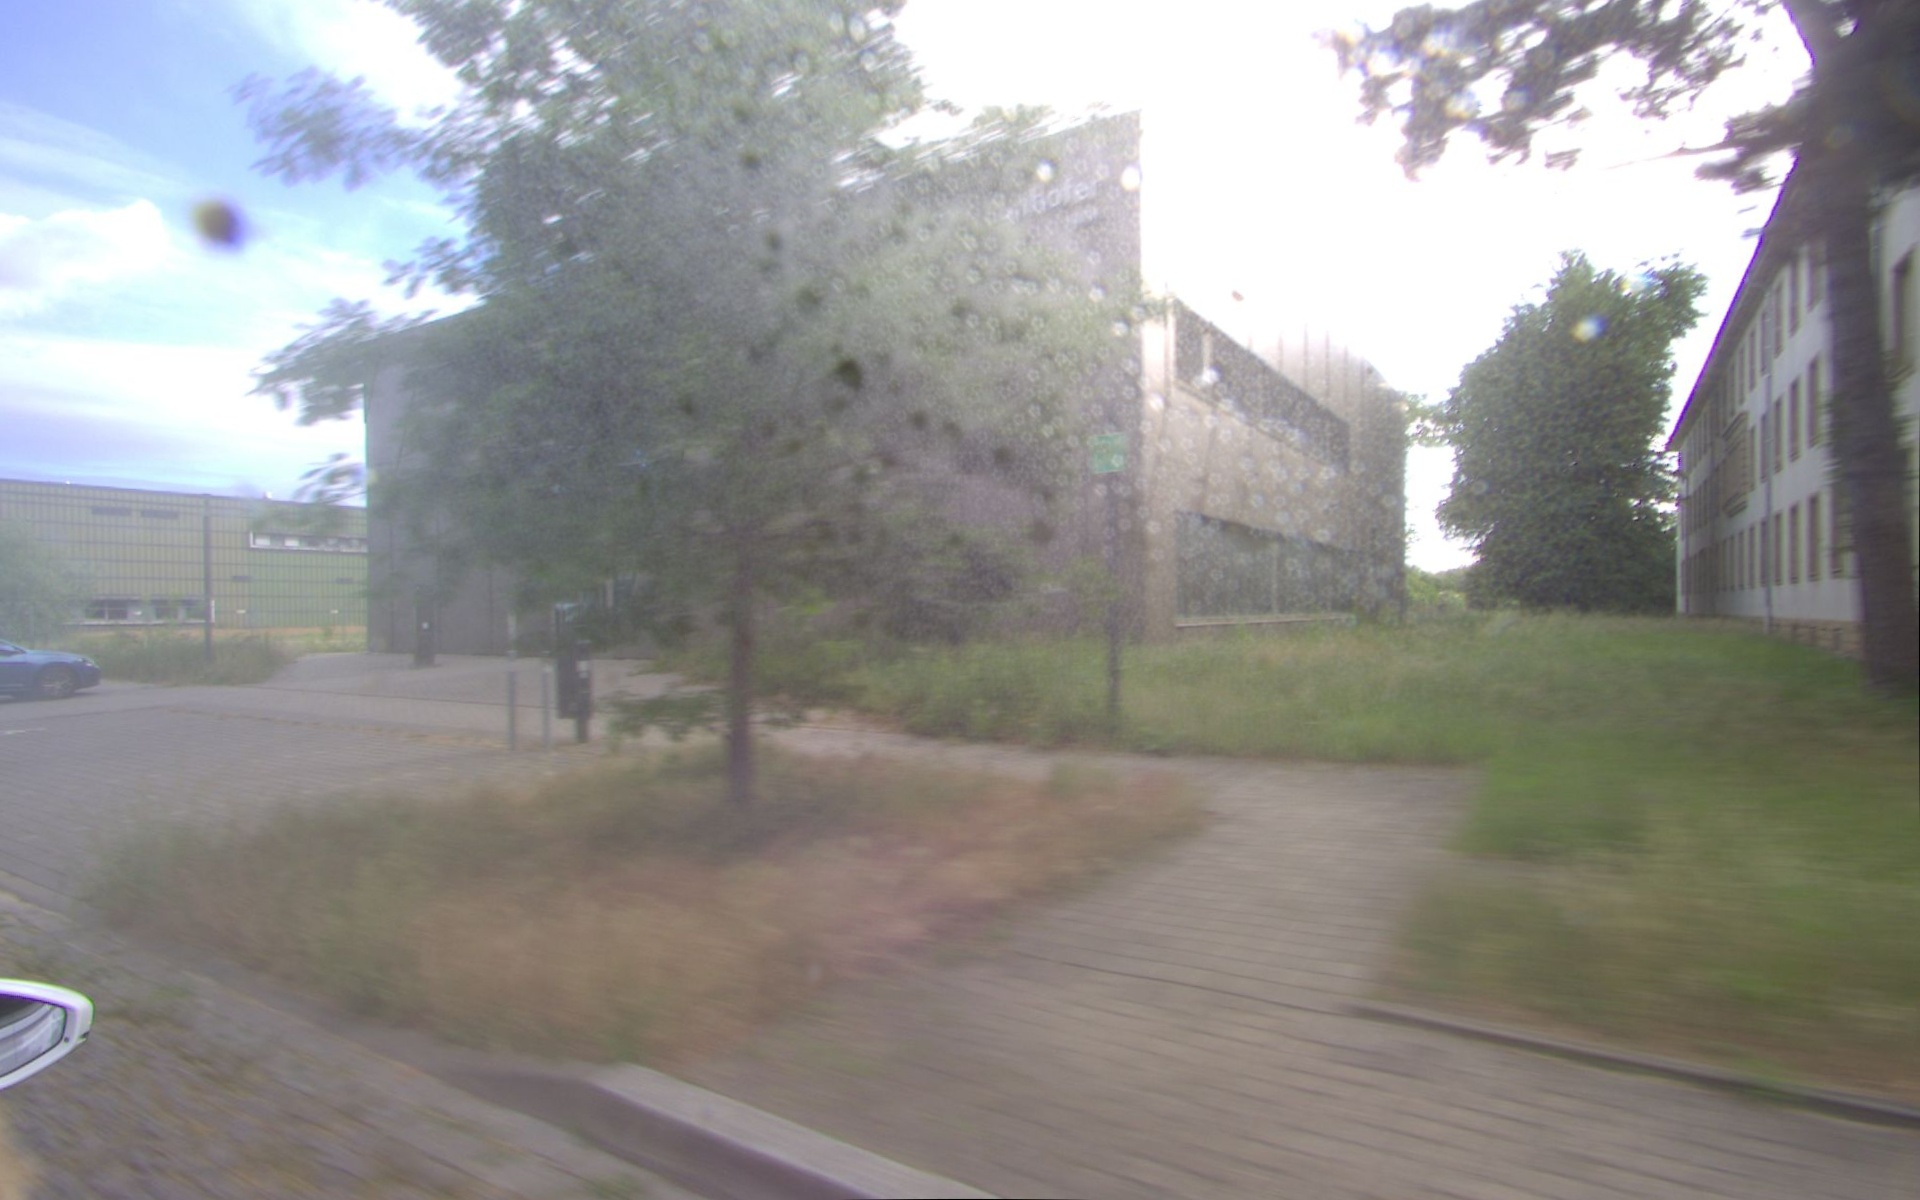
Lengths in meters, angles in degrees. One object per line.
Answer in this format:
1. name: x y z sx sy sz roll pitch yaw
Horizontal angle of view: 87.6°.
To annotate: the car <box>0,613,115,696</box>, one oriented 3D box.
1. car: -18.692 1.057 18.367 1.796 1.463 4.515 0 1 29
